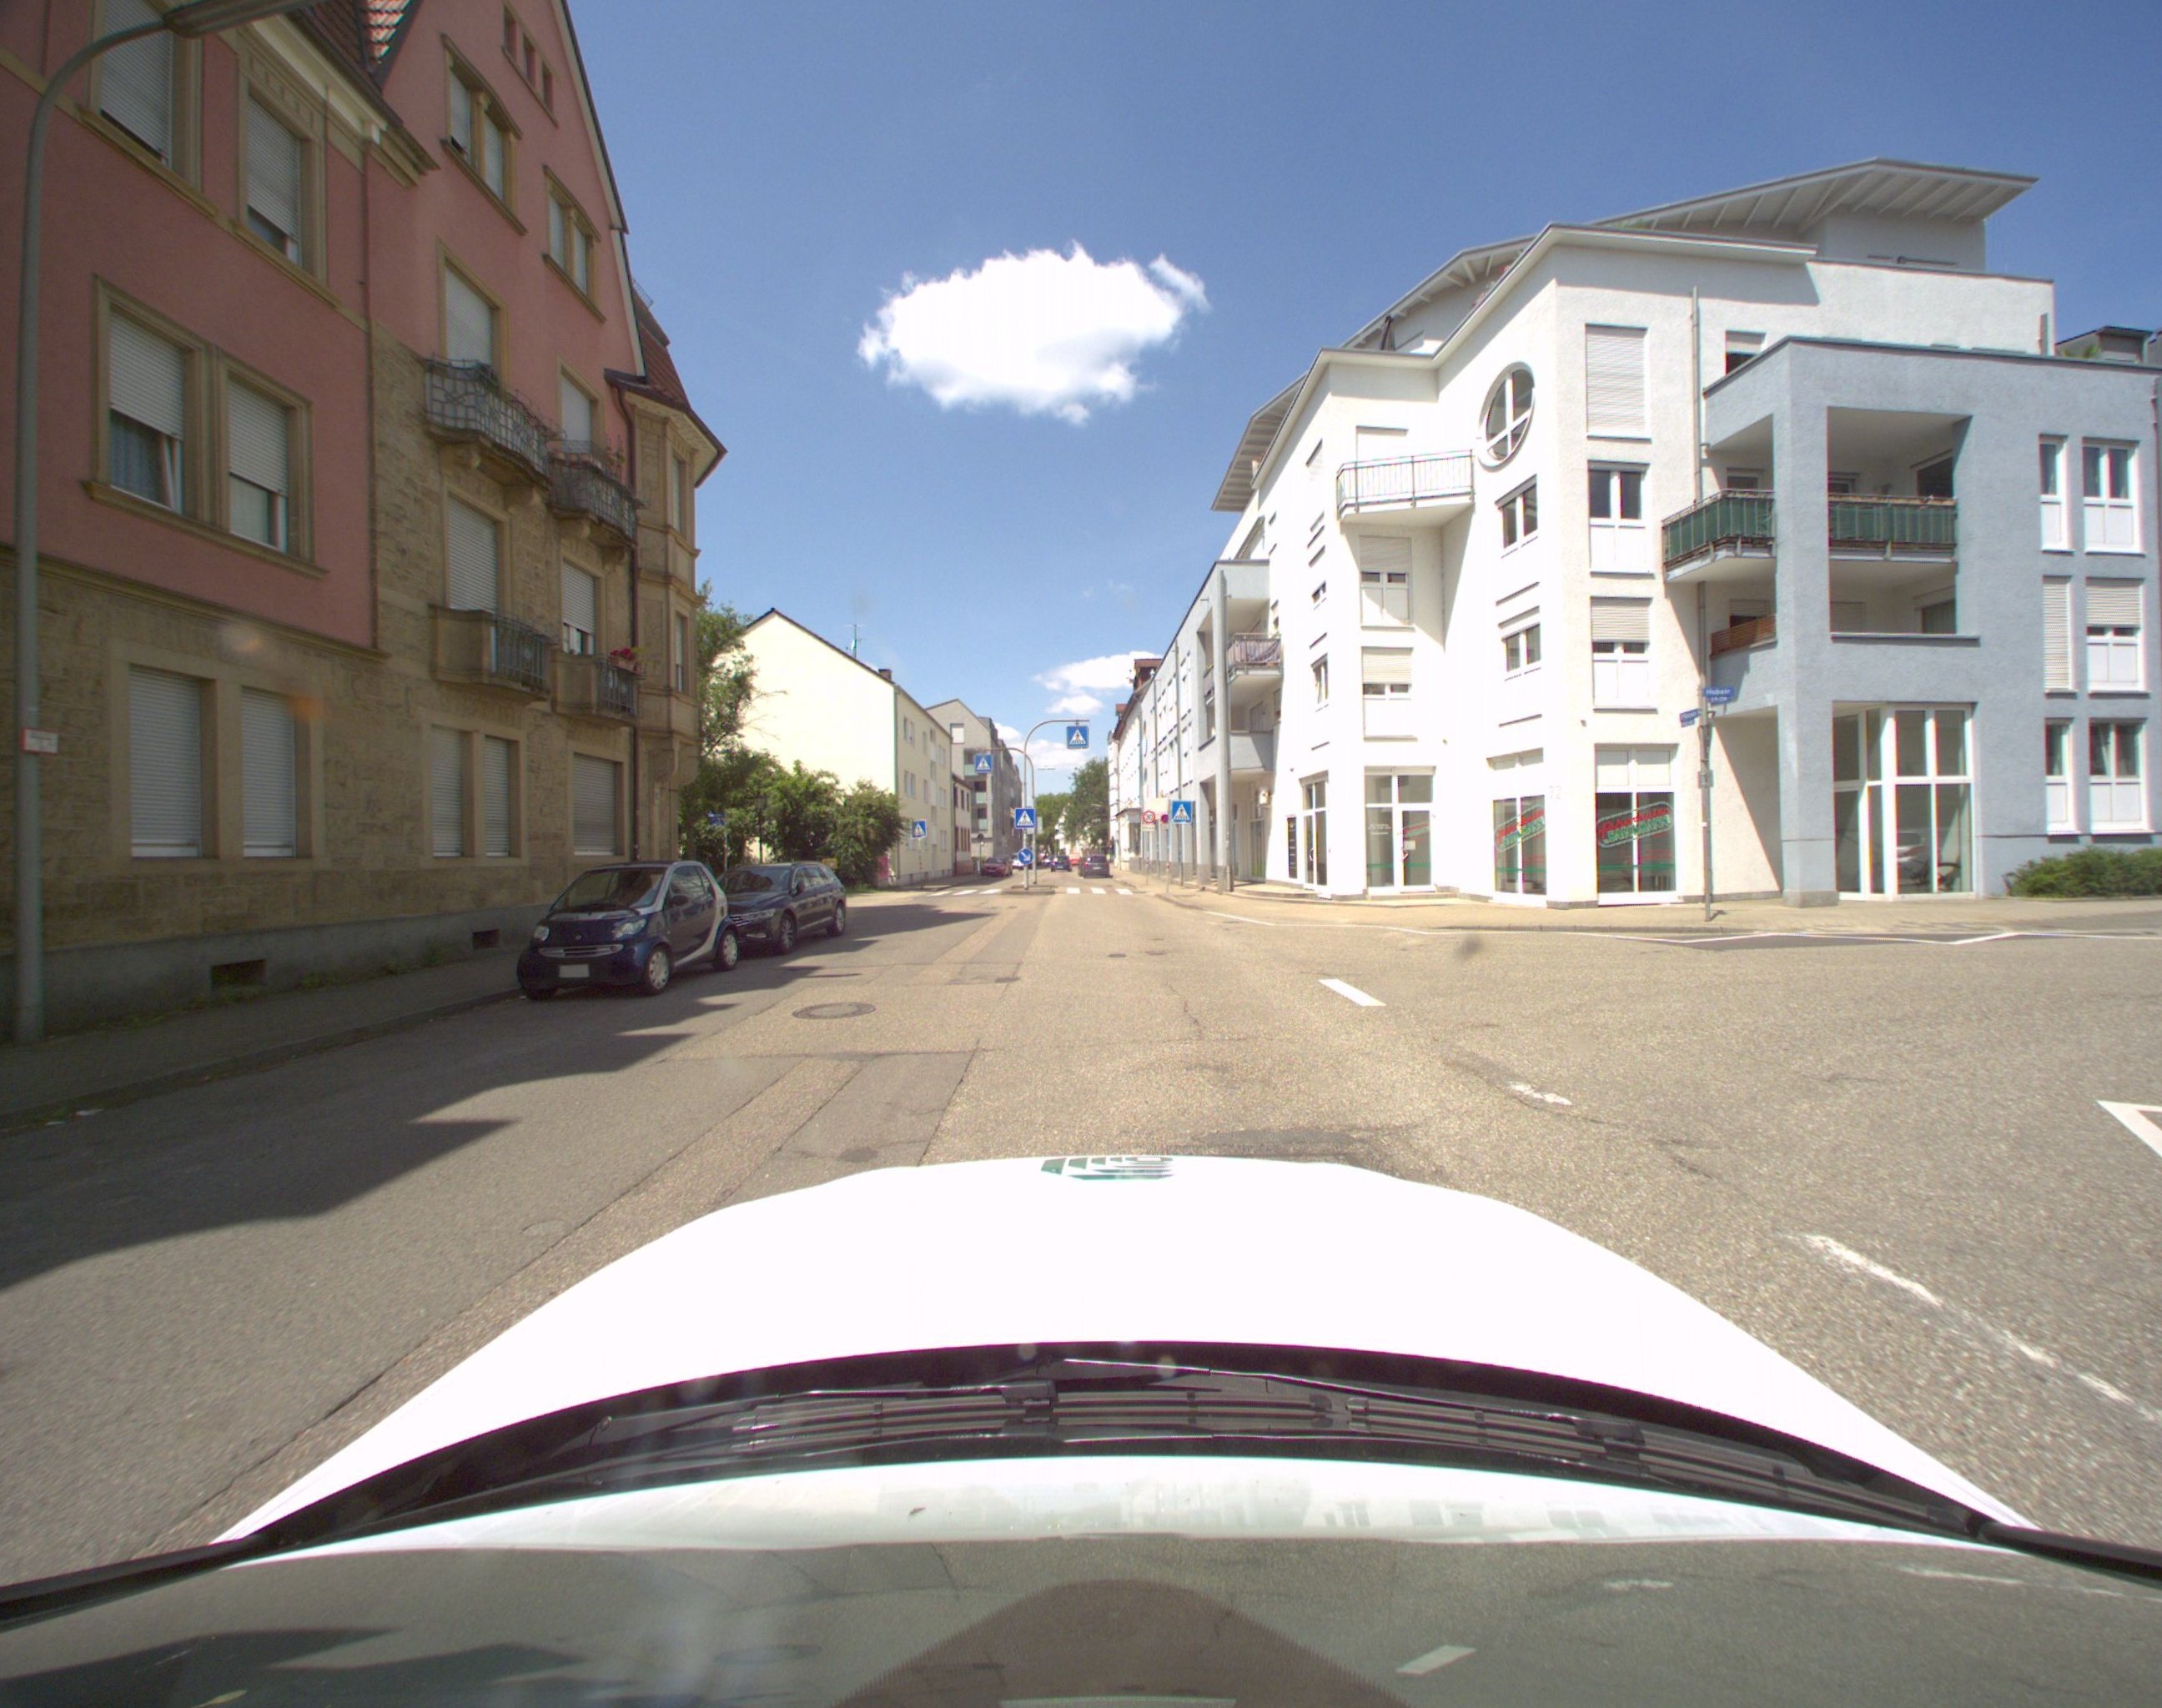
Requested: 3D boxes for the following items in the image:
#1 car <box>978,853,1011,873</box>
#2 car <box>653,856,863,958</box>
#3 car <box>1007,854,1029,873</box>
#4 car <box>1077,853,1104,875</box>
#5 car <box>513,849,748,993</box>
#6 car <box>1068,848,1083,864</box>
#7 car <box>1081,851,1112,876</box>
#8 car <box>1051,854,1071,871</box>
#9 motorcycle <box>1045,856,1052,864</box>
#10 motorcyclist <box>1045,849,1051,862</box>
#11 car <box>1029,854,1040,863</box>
[{"bbox_3d":[-6.321,0.656,59.921,1.827,1.417,4.290,-1,0,1],"label":"car"},{"bbox_3d":[-5.402,0.791,14.369,1.777,1.458,4.635,-1,0,1],"label":"car"},{"bbox_3d":[-6.777,1.016,87.728,1.750,1.892,4.339,1,0,3],"label":"car"},{"bbox_3d":[0.614,0.676,57.864,1.724,1.420,4.542,-1,0,-1],"label":"car"},{"bbox_3d":[-5.448,0.727,10.200,1.432,1.522,2.694,-1,0,-1],"label":"car"},{"bbox_3d":[-0.724,0.280,105.064,1.833,2.013,3.999,-1,1,-1],"label":"car"},{"bbox_3d":[0.981,0.578,52.705,1.706,1.508,3.995,-1,0,-3],"label":"car"},{"bbox_3d":[-1.772,0.759,71.768,1.710,1.402,3.998,-1,1,-1],"label":"car"},{"bbox_3d":[-4.246,0.760,106.030,0.710,1.028,2.241,-2,0,2],"label":"motorcycle"},{"bbox_3d":[-4.267,0.225,106.136,0.710,1.634,1.069,-2,0,2],"label":"motorcyclist"},{"bbox_3d":[-7.700,0.694,135.636,1.728,1.442,3.997,-1,0,-2],"label":"car"}]
